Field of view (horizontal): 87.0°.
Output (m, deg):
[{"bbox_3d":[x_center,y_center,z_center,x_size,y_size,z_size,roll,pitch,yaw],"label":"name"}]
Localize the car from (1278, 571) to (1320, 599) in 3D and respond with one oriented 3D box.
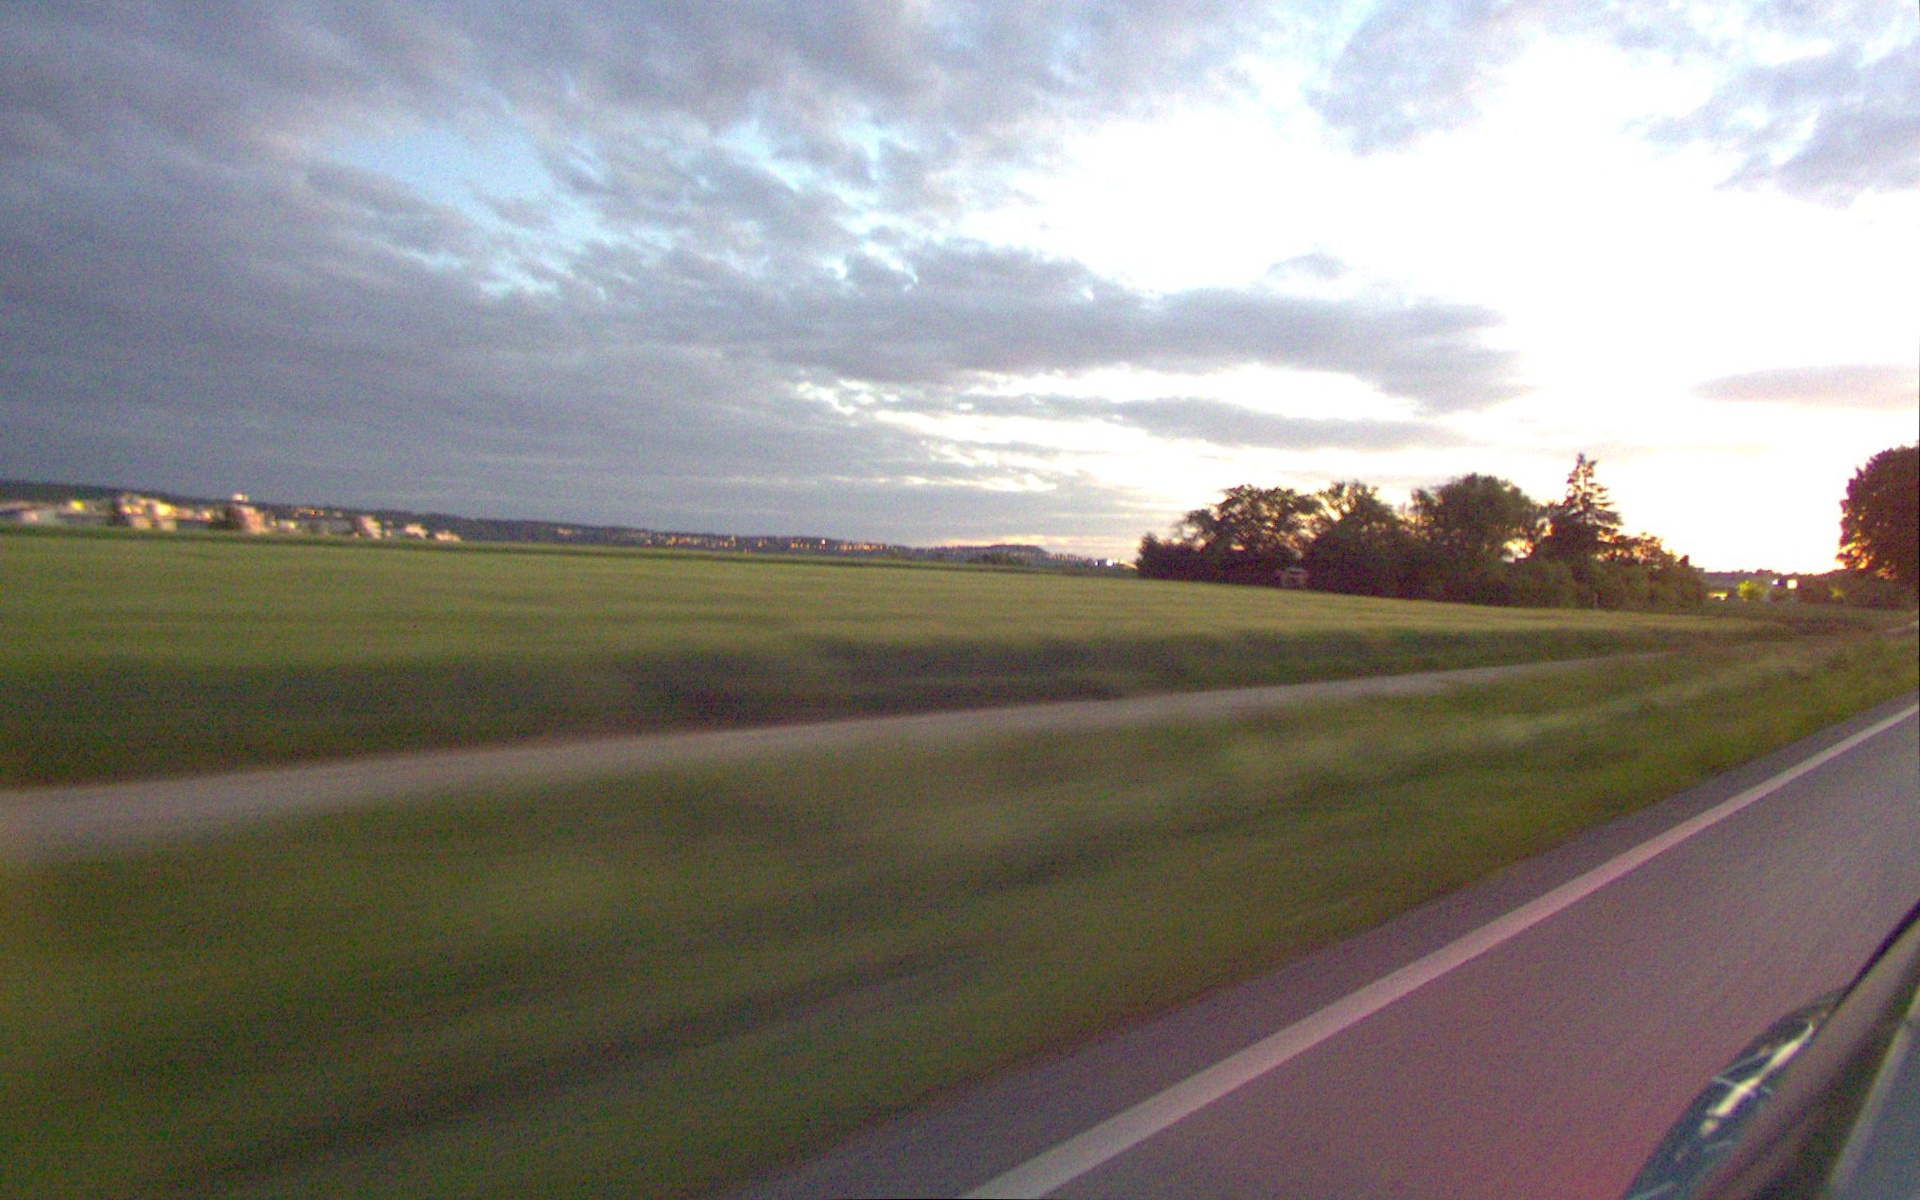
[{"bbox_3d":[28.055,-1.250,83.602,1.989,2.178,4.520,4,3,36],"label":"car"}]
